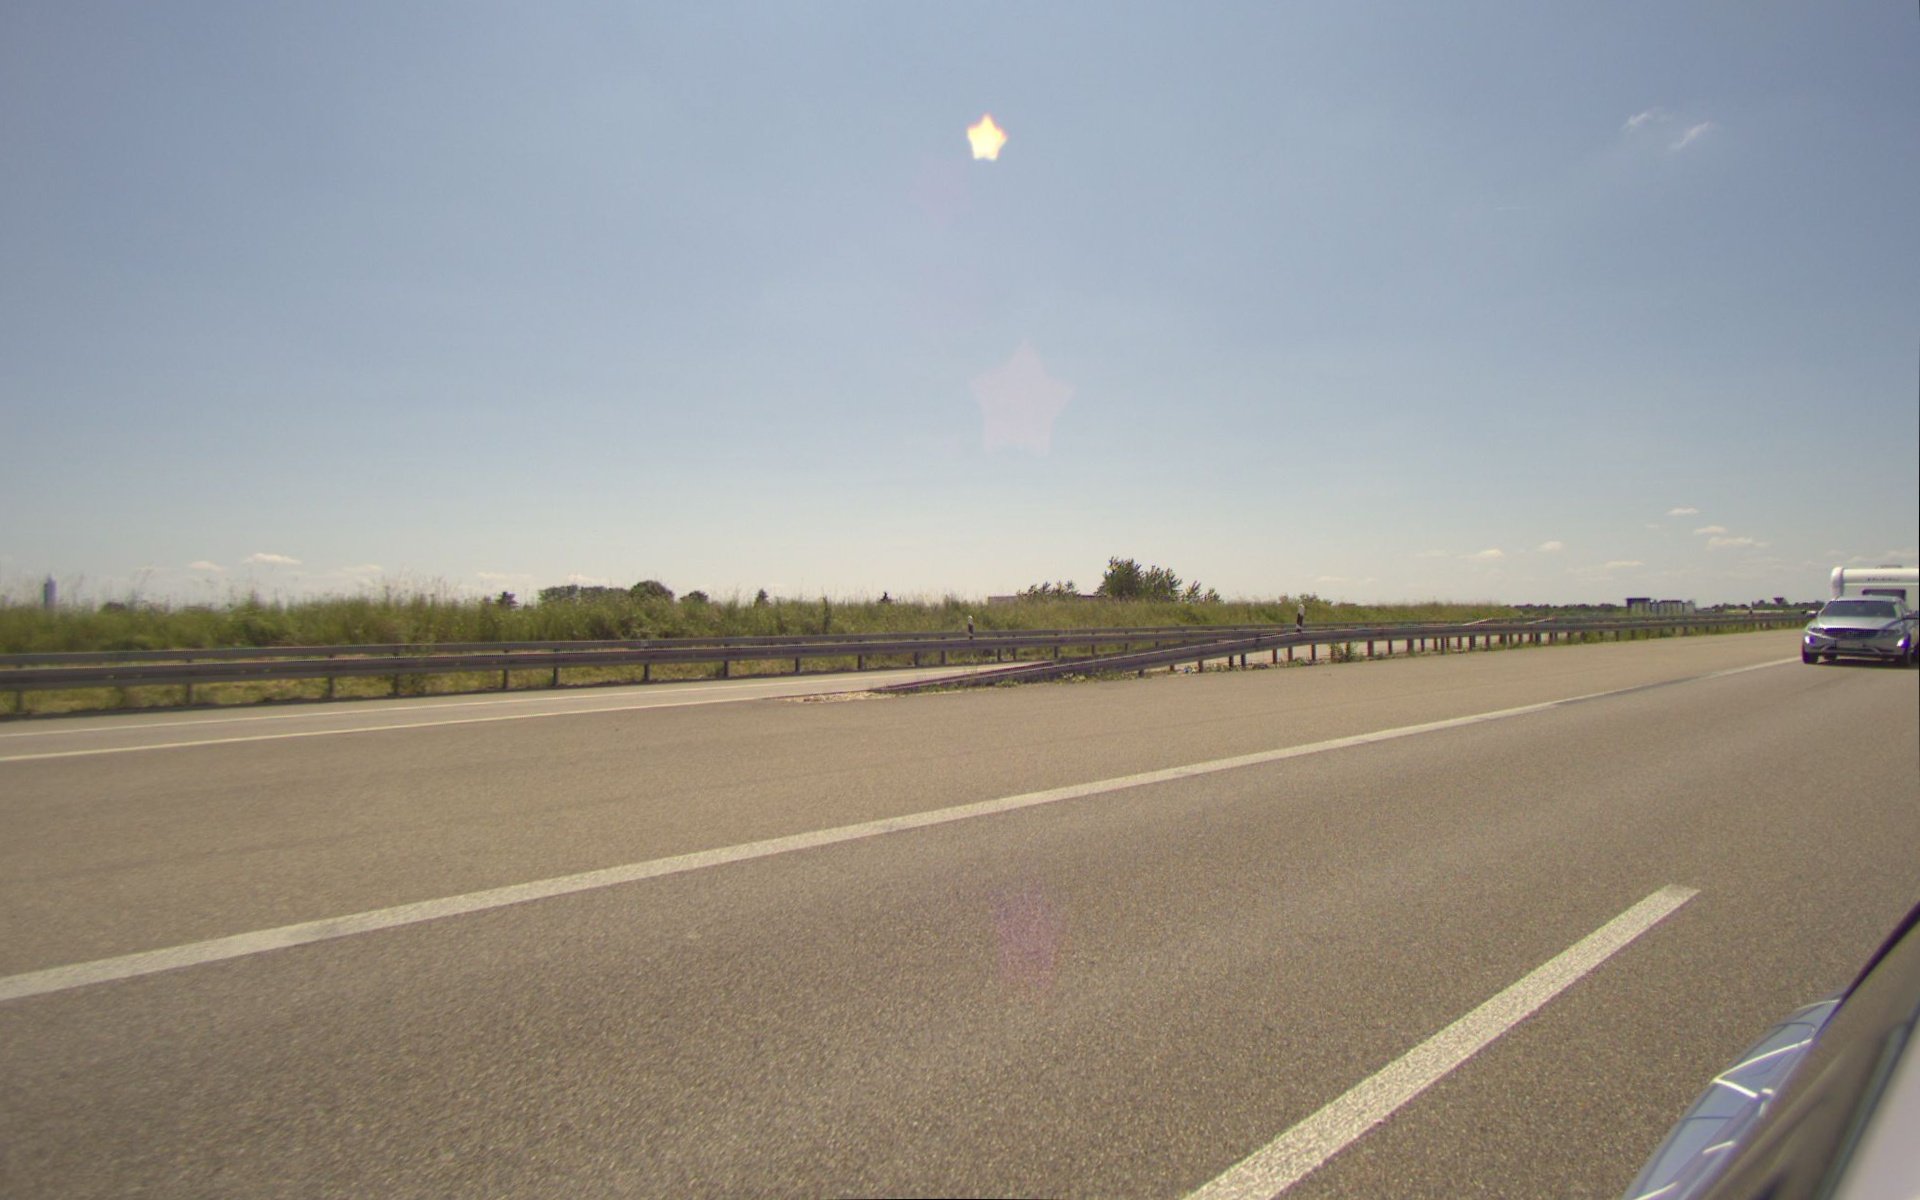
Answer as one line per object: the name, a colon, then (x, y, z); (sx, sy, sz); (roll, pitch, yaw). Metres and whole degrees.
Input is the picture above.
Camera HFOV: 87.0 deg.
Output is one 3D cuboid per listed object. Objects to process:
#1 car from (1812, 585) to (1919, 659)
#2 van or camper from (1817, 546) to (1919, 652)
car: (22.322, 0.507, 24.506); (4.817, 1.643, 1.884); (1, -1, -41)
van or camper: (26.270, 0.025, 28.204); (7.679, 2.626, 2.516); (1, -1, -41)
